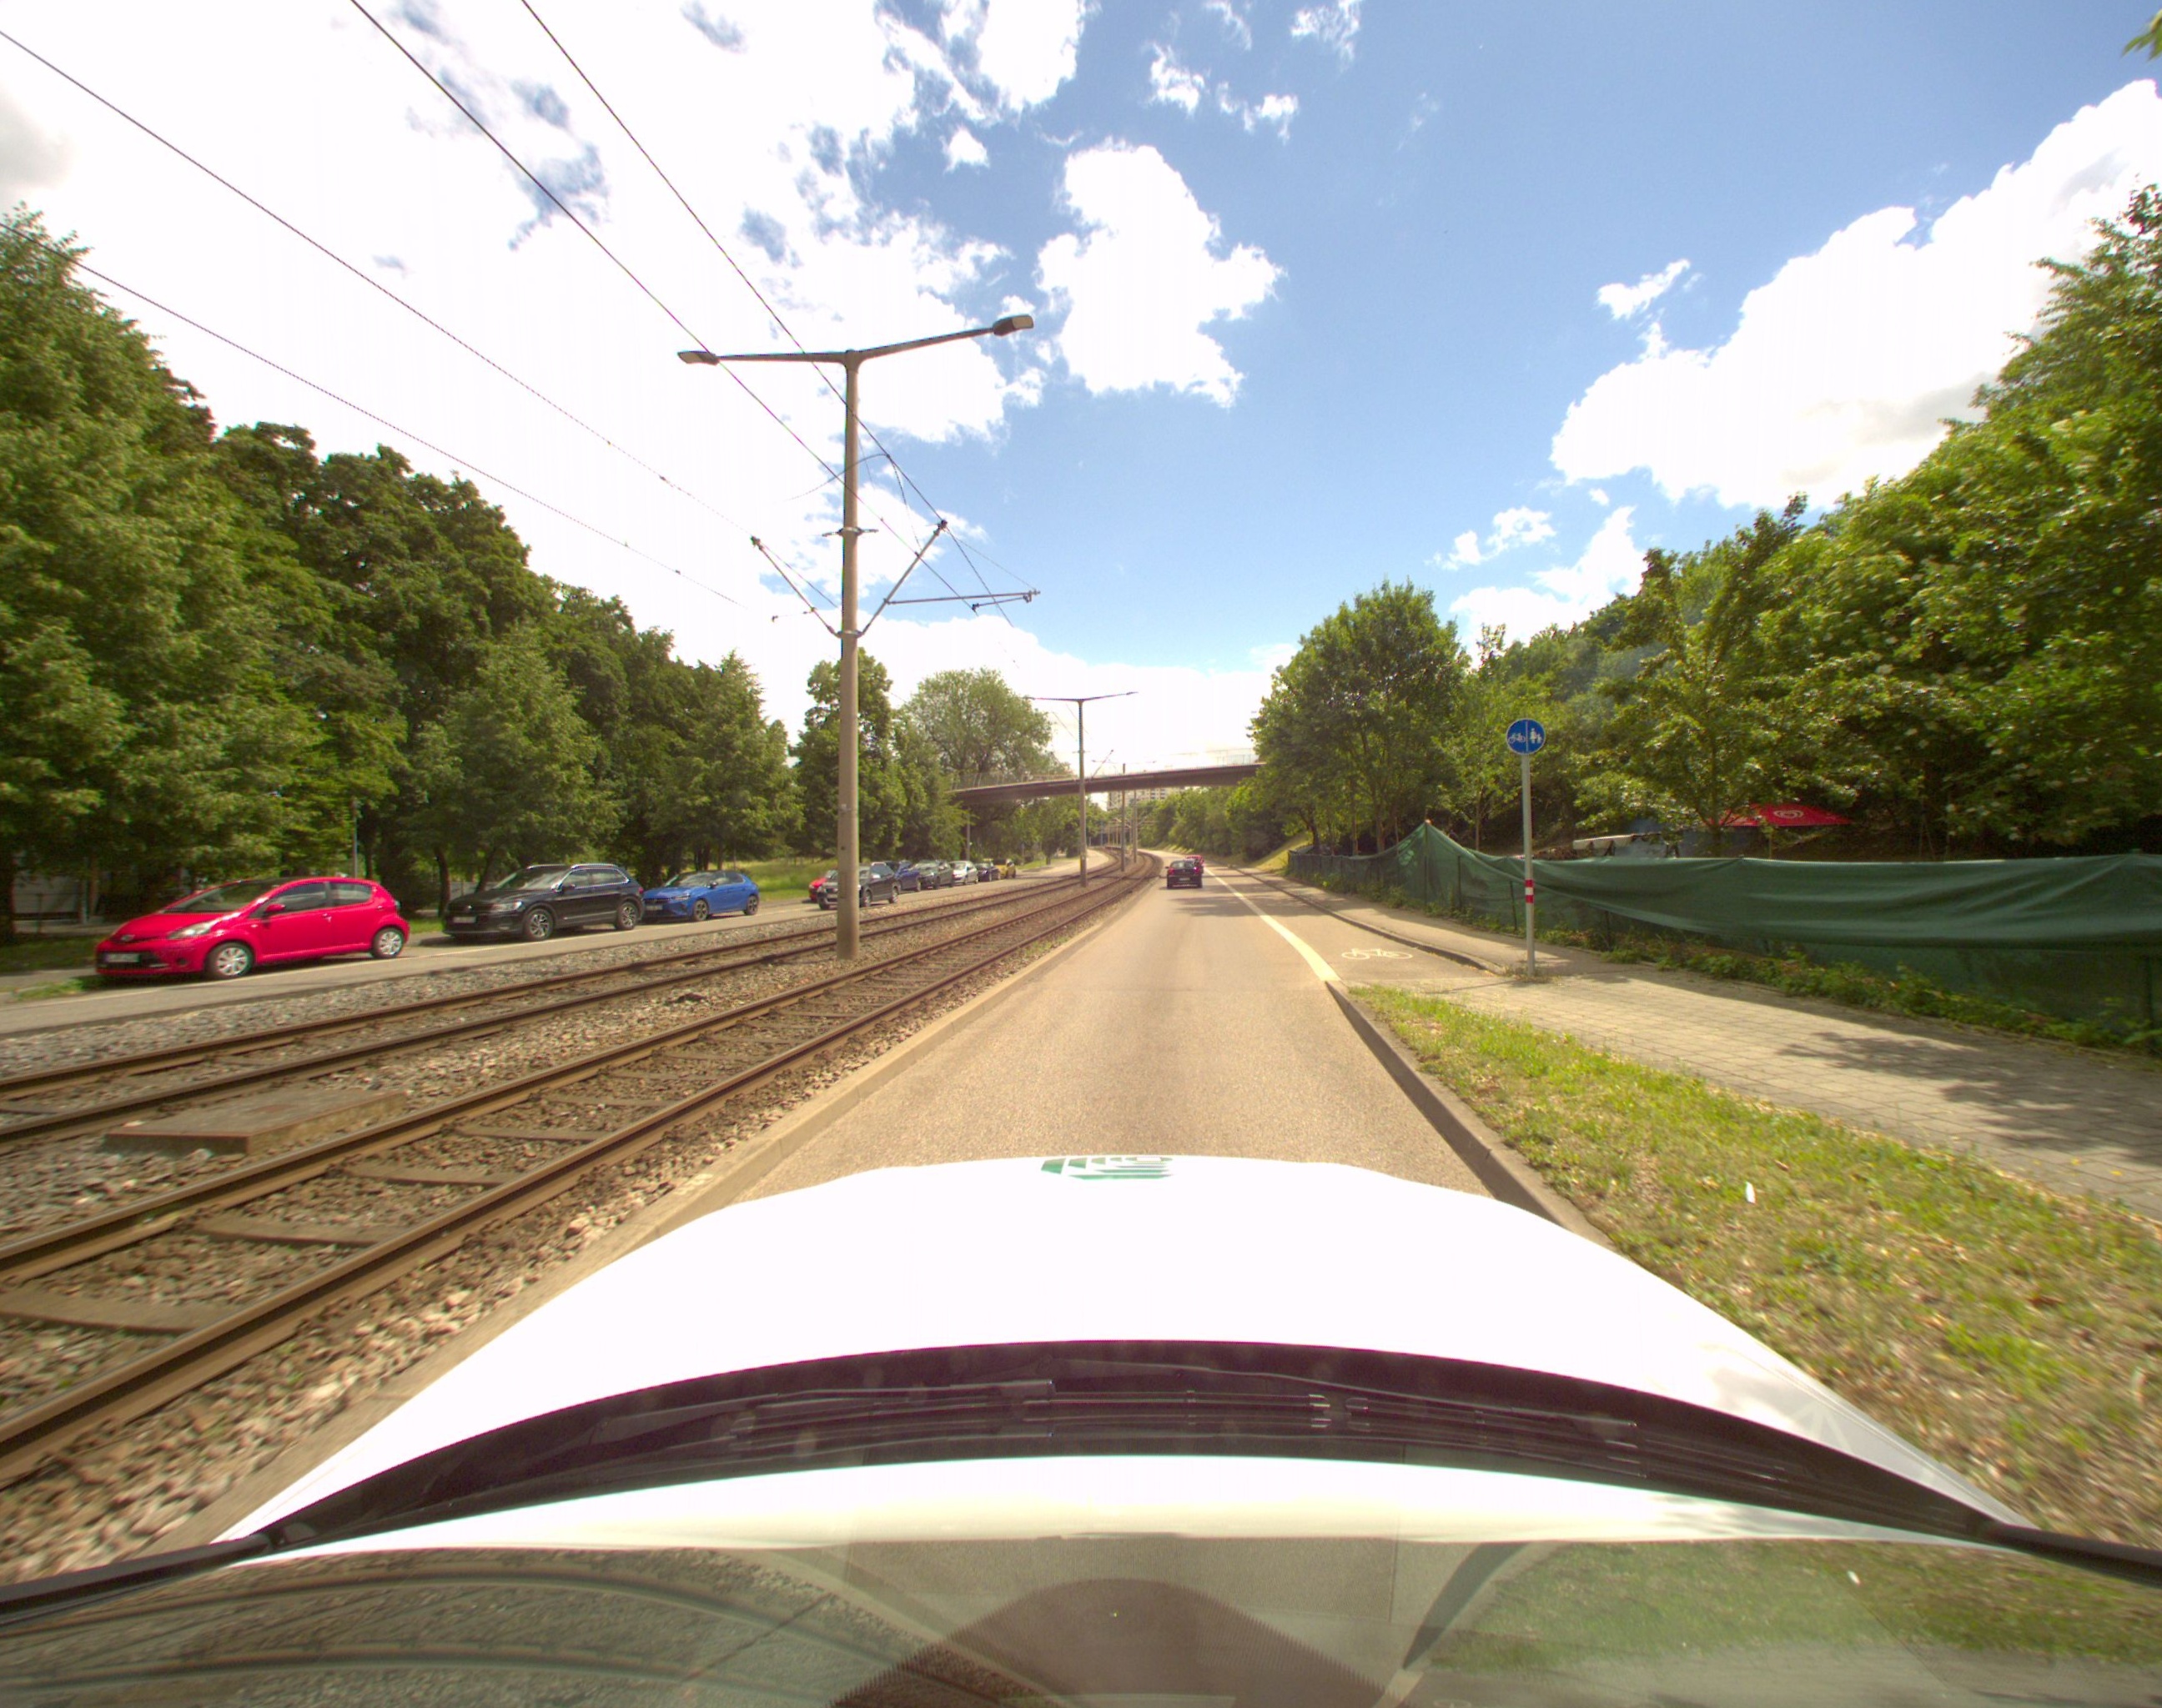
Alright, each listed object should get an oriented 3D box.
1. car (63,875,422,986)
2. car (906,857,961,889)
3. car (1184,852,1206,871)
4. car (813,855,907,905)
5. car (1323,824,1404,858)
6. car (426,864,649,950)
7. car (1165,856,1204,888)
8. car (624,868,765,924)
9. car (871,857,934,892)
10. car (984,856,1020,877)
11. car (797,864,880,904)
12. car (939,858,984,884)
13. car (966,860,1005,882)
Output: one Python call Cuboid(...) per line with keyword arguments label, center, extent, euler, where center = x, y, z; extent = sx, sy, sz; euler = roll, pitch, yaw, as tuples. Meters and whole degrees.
Cuboid(label="car", center=(-12.887, 1.082, 12.895), extent=(1.605, 1.452, 3.668), euler=(1, -1, 6))
Cuboid(label="car", center=(-7.914, 0.998, 44.062), extent=(1.633, 1.622, 4.136), euler=(-1, -1, 9))
Cuboid(label="car", center=(9.251, 0.643, 66.203), extent=(1.614, 1.443, 3.430), euler=(1, -1, 10))
Cuboid(label="car", center=(-7.534, 0.875, 28.119), extent=(1.604, 1.574, 4.009), euler=(1, -1, 8))
Cuboid(label="car", center=(17.728, -0.795, 51.302), extent=(4.496, 1.671, 2.006), euler=(-5, -2, 10))
Cuboid(label="car", center=(-11.956, 1.075, 18.329), extent=(1.571, 1.605, 4.386), euler=(-2, 0, 9))
Cuboid(label="car", center=(5.213, 0.847, 40.561), extent=(1.698, 1.460, 3.971), euler=(1, 0, 10))
Cuboid(label="car", center=(-11.062, 1.164, 23.630), extent=(1.603, 1.461, 4.018), euler=(1, -1, 10))
Cuboid(label="car", center=(-8.660, 0.995, 39.857), extent=(1.548, 1.596, 4.170), euler=(1, -1, 9))
Cuboid(label="car", center=(-5.778, 0.944, 59.980), extent=(1.679, 1.450, 3.908), euler=(1, -1, 9))
Cuboid(label="car", center=(-9.832, 1.196, 33.307), extent=(1.603, 1.494, 4.057), euler=(1, -1, 9))
Cuboid(label="car", center=(-7.218, 1.057, 49.567), extent=(1.585, 1.494, 4.200), euler=(1, -2, 7))
Cuboid(label="car", center=(-6.422, 1.120, 54.976), extent=(1.502, 1.360, 4.138), euler=(-1, -1, 9))
